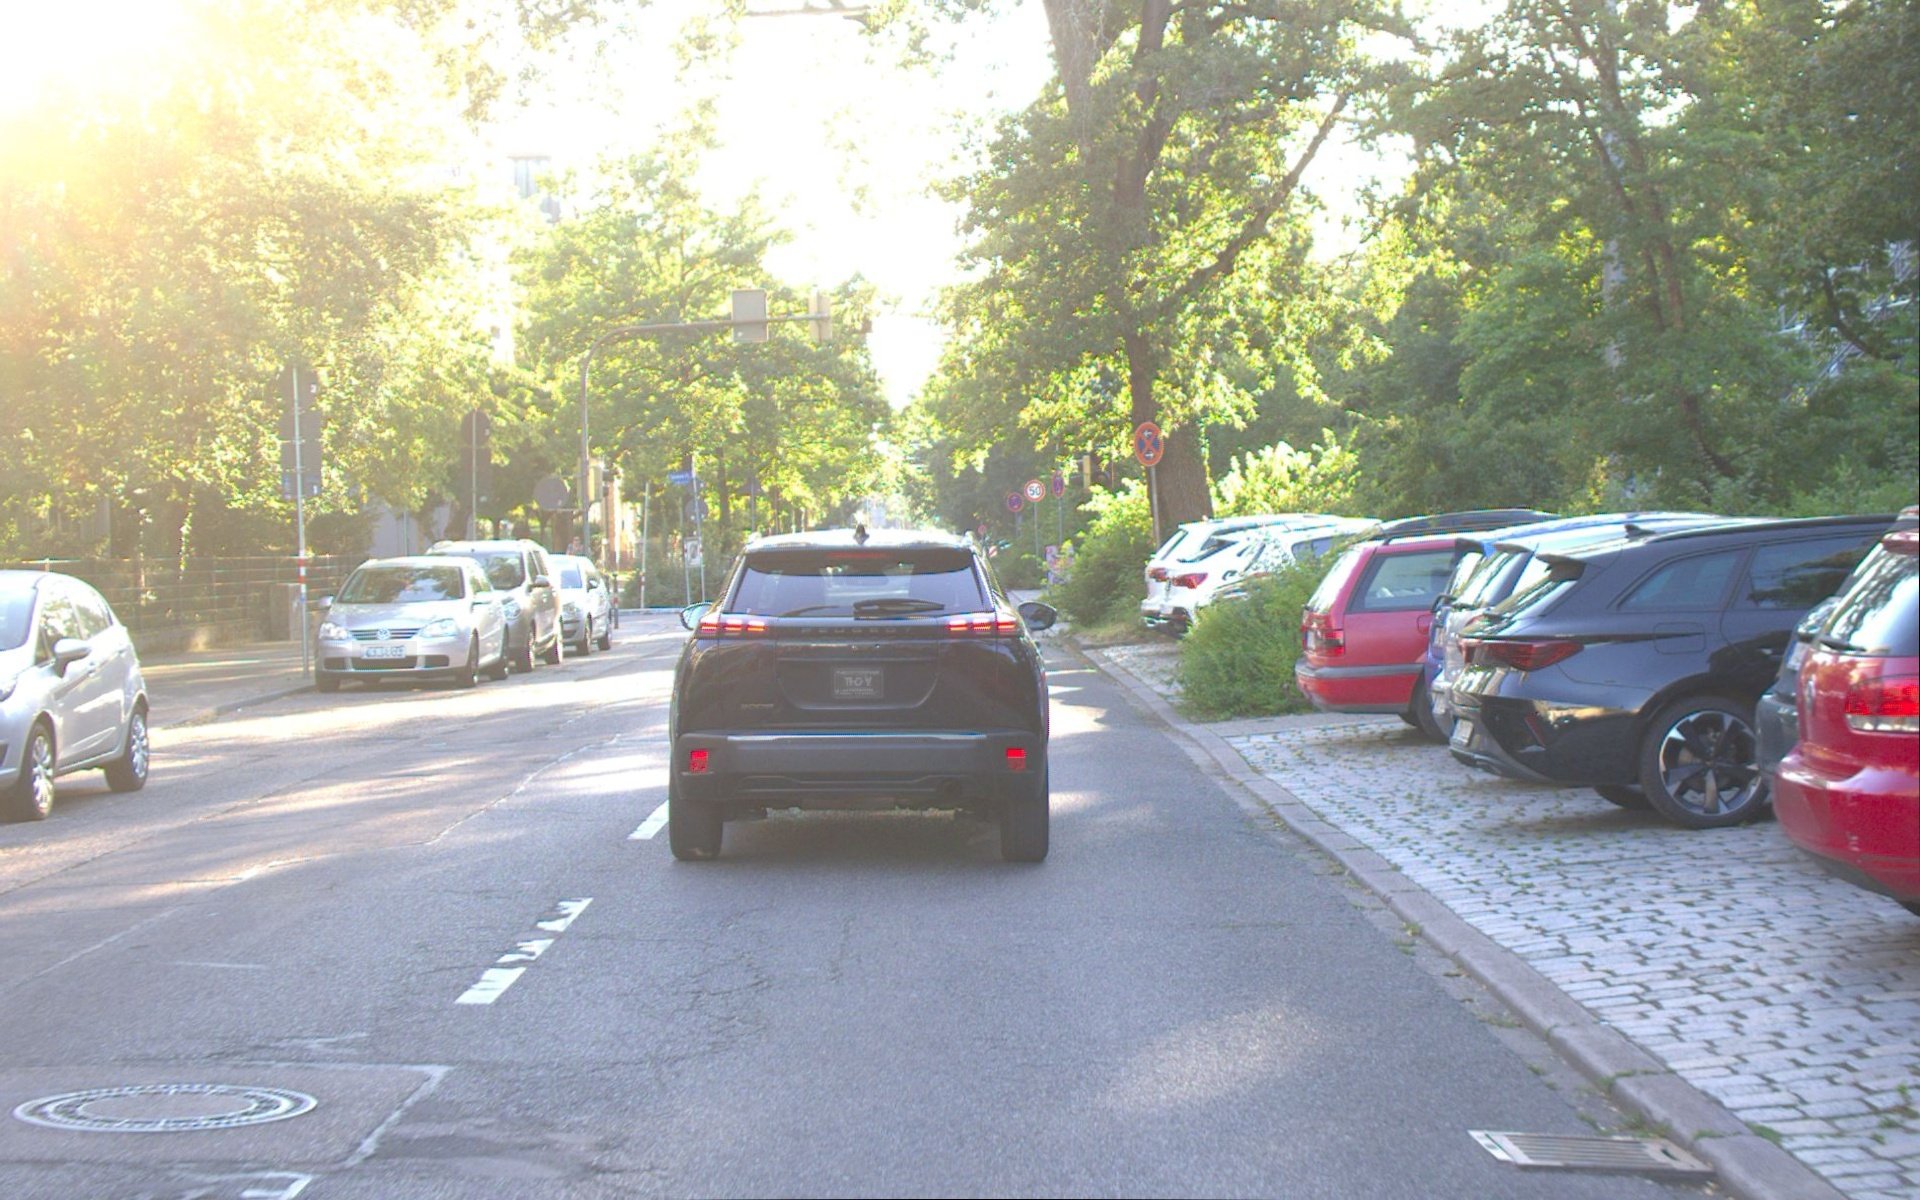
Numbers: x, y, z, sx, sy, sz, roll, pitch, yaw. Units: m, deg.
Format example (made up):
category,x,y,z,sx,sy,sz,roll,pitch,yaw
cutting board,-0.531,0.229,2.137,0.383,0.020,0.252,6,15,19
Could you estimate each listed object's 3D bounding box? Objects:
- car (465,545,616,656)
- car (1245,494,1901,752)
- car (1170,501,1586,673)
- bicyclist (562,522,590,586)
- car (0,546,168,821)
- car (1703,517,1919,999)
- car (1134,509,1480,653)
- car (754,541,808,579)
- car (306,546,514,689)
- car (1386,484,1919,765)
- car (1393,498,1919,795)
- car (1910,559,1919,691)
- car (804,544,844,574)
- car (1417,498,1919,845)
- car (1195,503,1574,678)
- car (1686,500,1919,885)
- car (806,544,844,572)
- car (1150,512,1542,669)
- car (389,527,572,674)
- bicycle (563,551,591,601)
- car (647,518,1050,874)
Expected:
category,x,y,z,sx,sy,sz,roll,pitch,yaw
car,-6.169,-0.020,50.914,1.679,1.452,3.882,-3,2,0
car,4.325,0.136,24.723,4.338,1.470,1.742,-4,2,1
car,3.982,-0.137,33.136,3.744,1.589,1.697,0,1,-2
bicyclist,-9.797,-1.176,87.767,0.675,1.598,0.706,-1,1,-6
car,-6.132,0.473,21.084,1.601,1.488,3.772,-3,2,0
car,4.644,0.351,11.572,3.807,1.469,1.756,-5,0,0
car,4.278,-0.251,42.769,4.171,1.704,1.867,-1,1,4
car,-6.669,-1.501,127.856,1.810,1.349,4.001,-2,1,-5
car,-6.168,0.155,38.943,1.671,1.488,4.061,-1,1,0
car,4.845,0.121,22.568,3.711,1.550,1.742,-4,1,-4
car,4.626,0.209,20.004,3.924,1.449,1.832,-4,1,1
car,4.700,0.432,9.176,3.749,1.390,1.756,-5,0,0
car,-6.665,-2.023,167.943,1.810,1.349,3.980,-2,1,-4
car,4.481,0.260,17.059,4.120,1.469,1.832,-4,1,1
car,4.338,-0.099,35.552,3.588,1.561,1.818,-3,0,-1
car,5.186,0.226,14.395,3.807,1.469,1.832,-5,0,0
car,-6.999,-2.200,178.002,1.810,1.349,4.001,-2,1,-4
car,4.217,-0.116,37.995,4.122,1.661,1.723,0,1,0
car,-6.151,-0.040,44.518,1.679,1.702,4.341,-3,2,0
bicycle,-9.797,-0.609,87.848,0.686,1.245,2.193,-1,1,-7
car,-0.544,0.394,16.842,1.768,1.563,3.381,0,1,-2
